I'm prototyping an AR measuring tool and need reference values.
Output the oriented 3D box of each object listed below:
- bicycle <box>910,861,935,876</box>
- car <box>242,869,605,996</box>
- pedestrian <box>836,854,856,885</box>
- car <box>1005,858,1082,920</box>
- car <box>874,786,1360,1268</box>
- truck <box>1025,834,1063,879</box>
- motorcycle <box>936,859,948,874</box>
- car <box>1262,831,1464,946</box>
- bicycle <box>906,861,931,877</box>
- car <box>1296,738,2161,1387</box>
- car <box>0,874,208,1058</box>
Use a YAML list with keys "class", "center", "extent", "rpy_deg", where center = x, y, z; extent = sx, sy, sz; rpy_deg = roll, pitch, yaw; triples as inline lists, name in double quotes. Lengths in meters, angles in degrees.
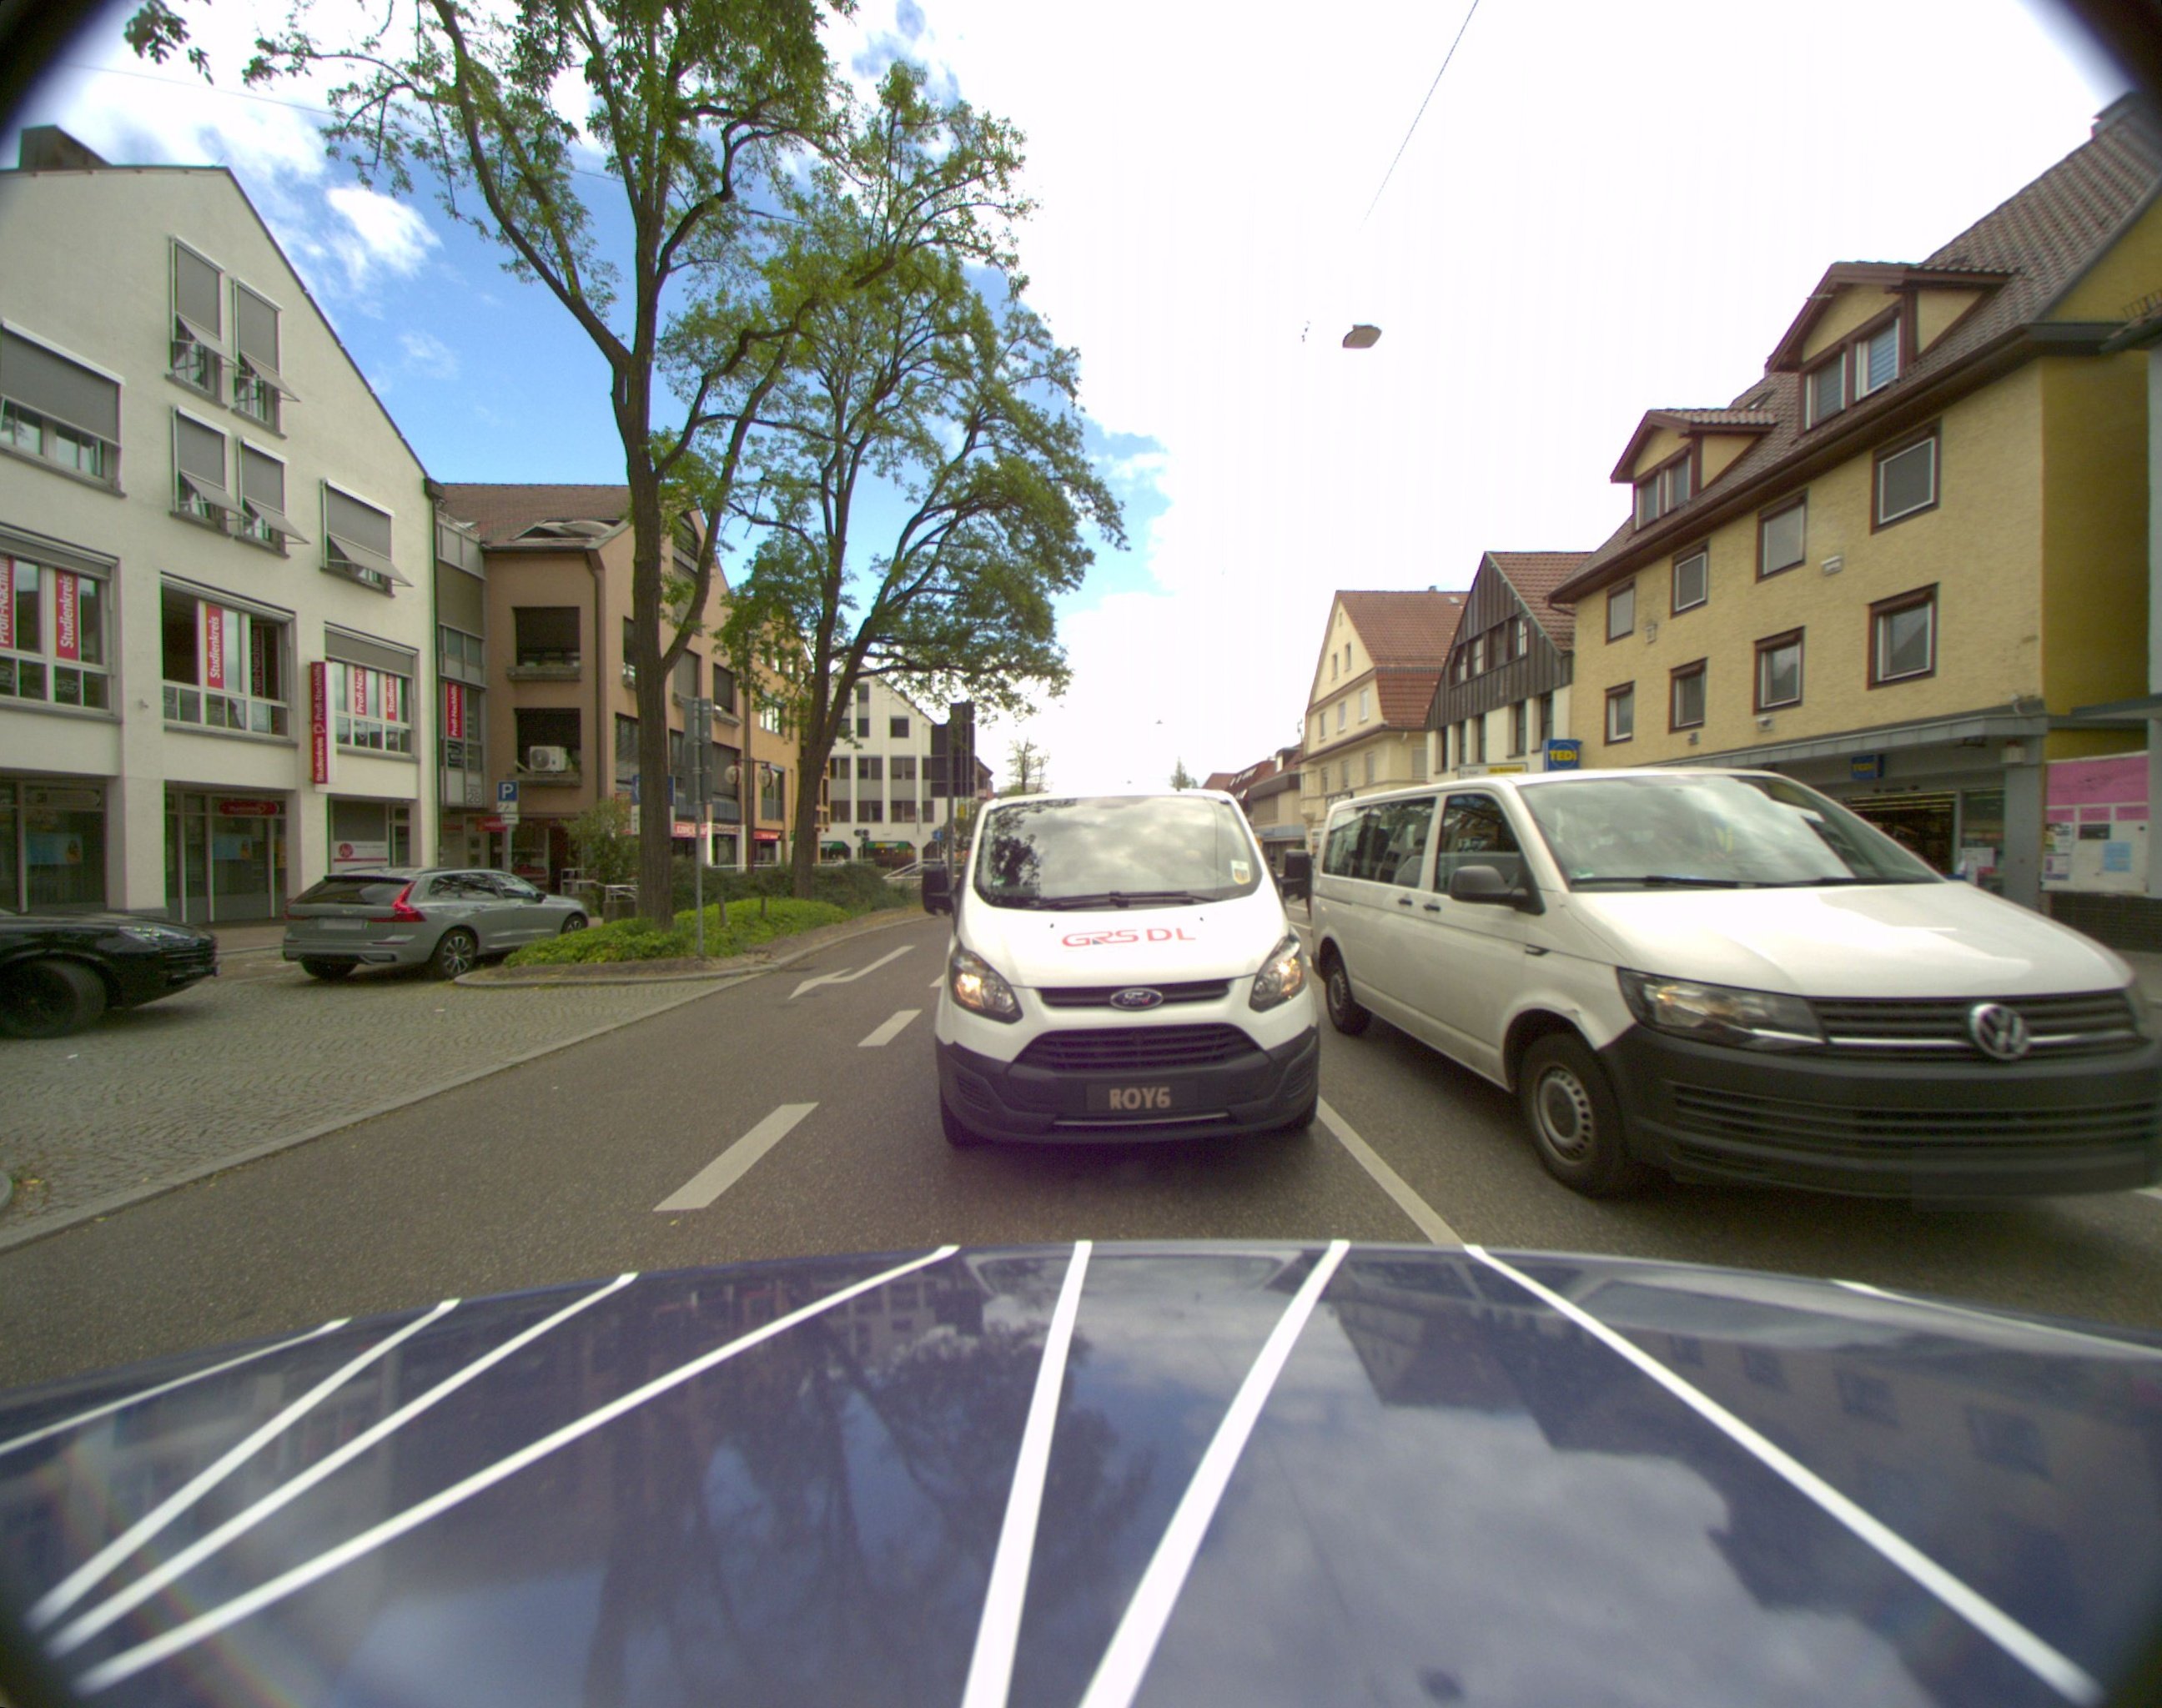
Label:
- class: "bicycle"
  center: [-10.375, 0.945, 49.763]
  extent: [1.594, 0.963, 0.461]
  rpy_deg: [-1, 1, -14]
- class: "car"
  center: [-10.299, 1.102, 12.576]
  extent: [1.999, 1.586, 4.762]
  rpy_deg: [0, 0, -2]
- class: "pedestrian"
  center: [-13.928, 0.914, 45.001]
  extent: [0.871, 1.812, 0.785]
  rpy_deg: [-2, 1, -4]
- class: "car"
  center: [-1.019, 0.917, 22.449]
  extent: [1.999, 1.514, 5.157]
  rpy_deg: [1, 1, -1]
- class: "car"
  center: [0.160, 0.712, 5.732]
  extent: [1.964, 1.948, 5.164]
  rpy_deg: [-2, 0, 0]
- class: "truck"
  center: [-3.012, 0.173, 63.792]
  extent: [2.446, 3.464, 8.347]
  rpy_deg: [-2, 1, 1]
- class: "motorcycle"
  center: [-10.004, 0.890, 54.586]
  extent: [0.464, 1.062, 1.995]
  rpy_deg: [-1, 0, 0]
- class: "car"
  center: [5.262, 0.565, 15.088]
  extent: [1.999, 1.877, 5.158]
  rpy_deg: [1, 0, -1]
- class: "bicycle"
  center: [-10.478, 0.956, 49.043]
  extent: [1.594, 0.996, 0.414]
  rpy_deg: [-1, 1, -13]
- class: "car"
  center: [2.907, 0.635, 4.709]
  extent: [1.830, 1.948, 4.852]
  rpy_deg: [-1, 0, 1]
- class: "car"
  center: [-11.619, 1.073, 6.961]
  extent: [1.853, 1.660, 4.673]
  rpy_deg: [1, 0, 44]
